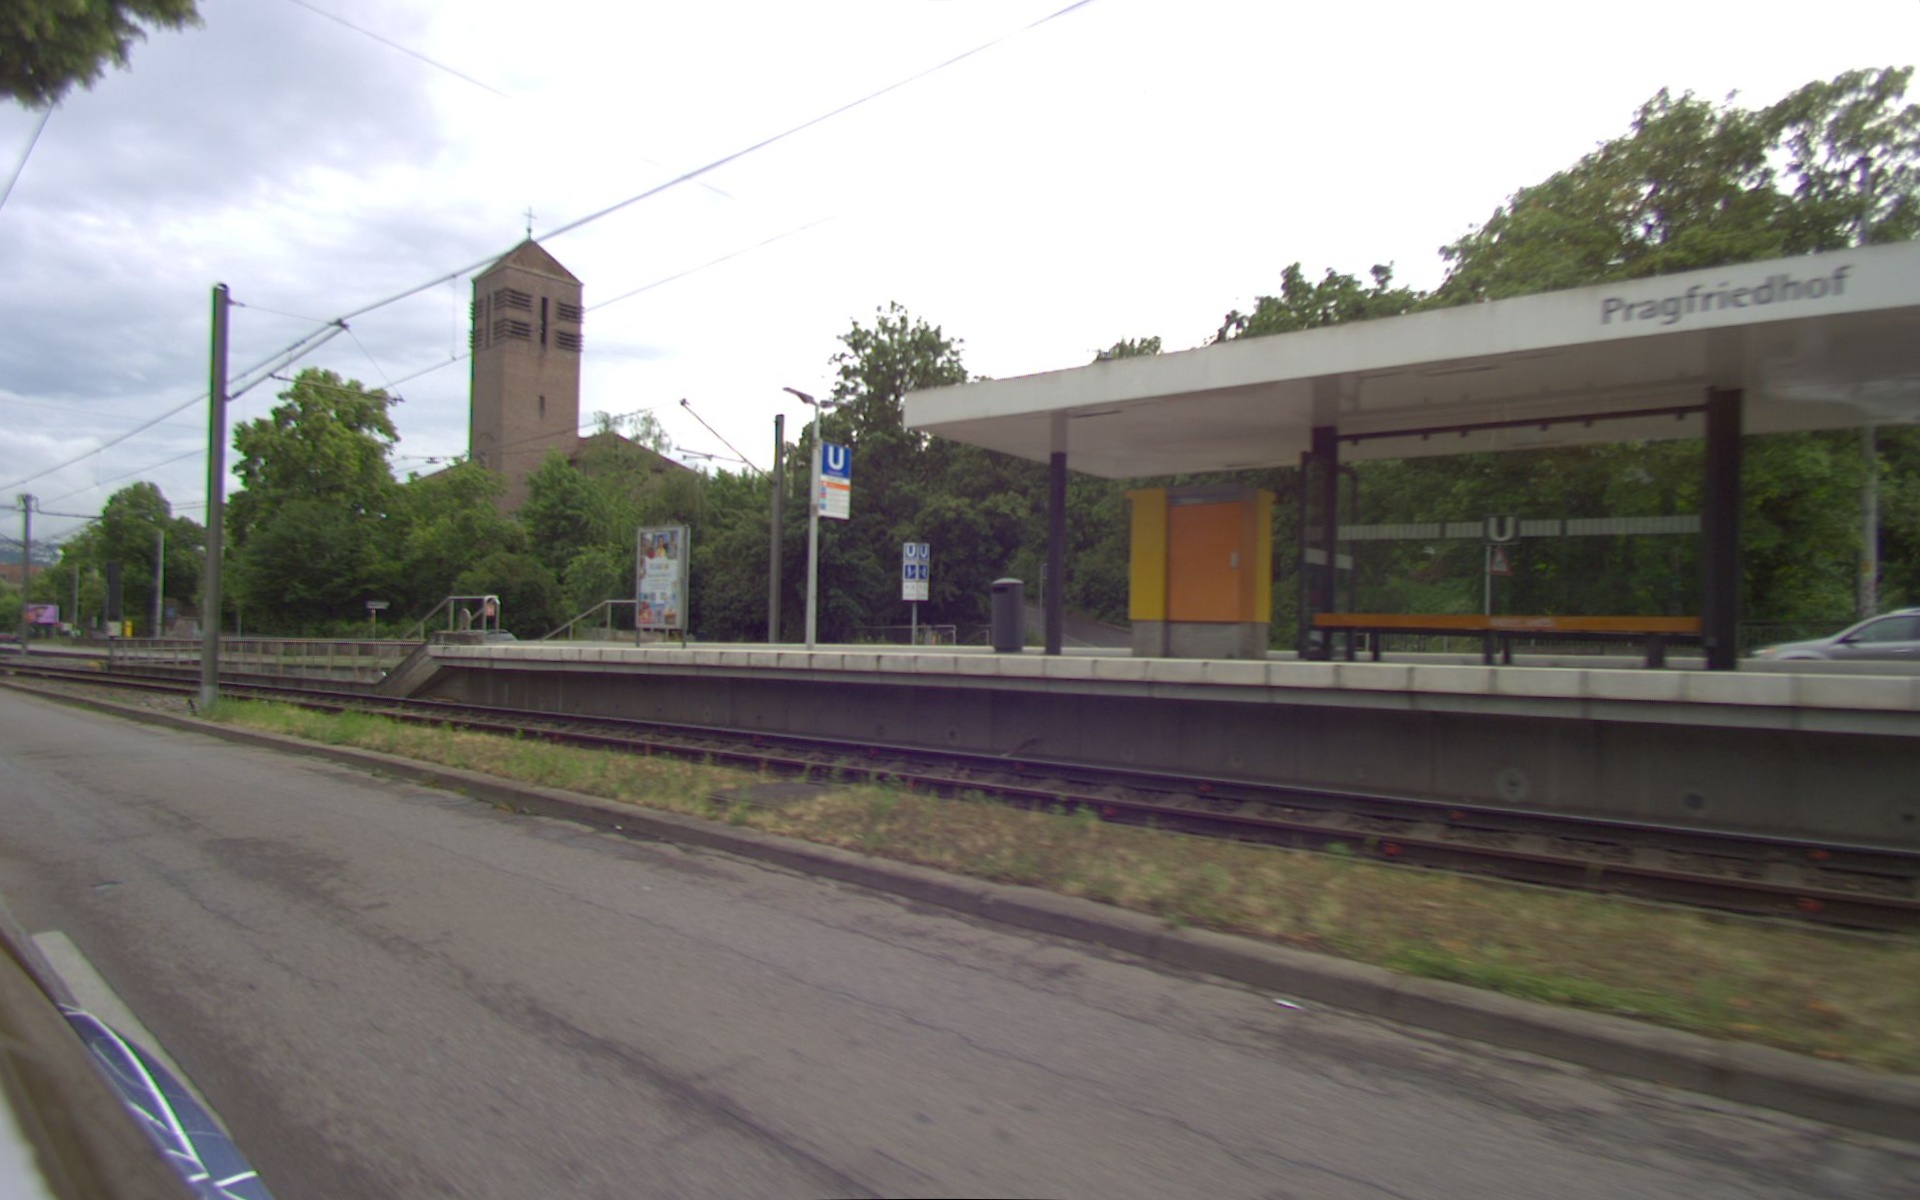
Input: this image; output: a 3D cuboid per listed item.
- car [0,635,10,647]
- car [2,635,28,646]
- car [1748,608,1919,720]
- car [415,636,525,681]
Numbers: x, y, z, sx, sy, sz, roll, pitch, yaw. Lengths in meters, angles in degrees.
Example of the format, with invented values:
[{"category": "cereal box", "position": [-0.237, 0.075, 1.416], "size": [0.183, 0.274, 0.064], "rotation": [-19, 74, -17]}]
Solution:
[{"category": "car", "position": [-140.668, 6.034, 148.149], "size": [4.523, 1.656, 1.972], "rotation": [-2, -4, 42]}, {"category": "car", "position": [-121.574, 5.189, 130.225], "size": [4.318, 1.452, 1.945], "rotation": [-2, -4, 40]}, {"category": "car", "position": [16.815, 1.097, 17.857], "size": [4.514, 1.890, 1.973], "rotation": [-2, -2, 40]}, {"category": "car", "position": [-19.034, 2.209, 39.252], "size": [4.510, 1.636, 1.975], "rotation": [-1, -2, 37]}]
